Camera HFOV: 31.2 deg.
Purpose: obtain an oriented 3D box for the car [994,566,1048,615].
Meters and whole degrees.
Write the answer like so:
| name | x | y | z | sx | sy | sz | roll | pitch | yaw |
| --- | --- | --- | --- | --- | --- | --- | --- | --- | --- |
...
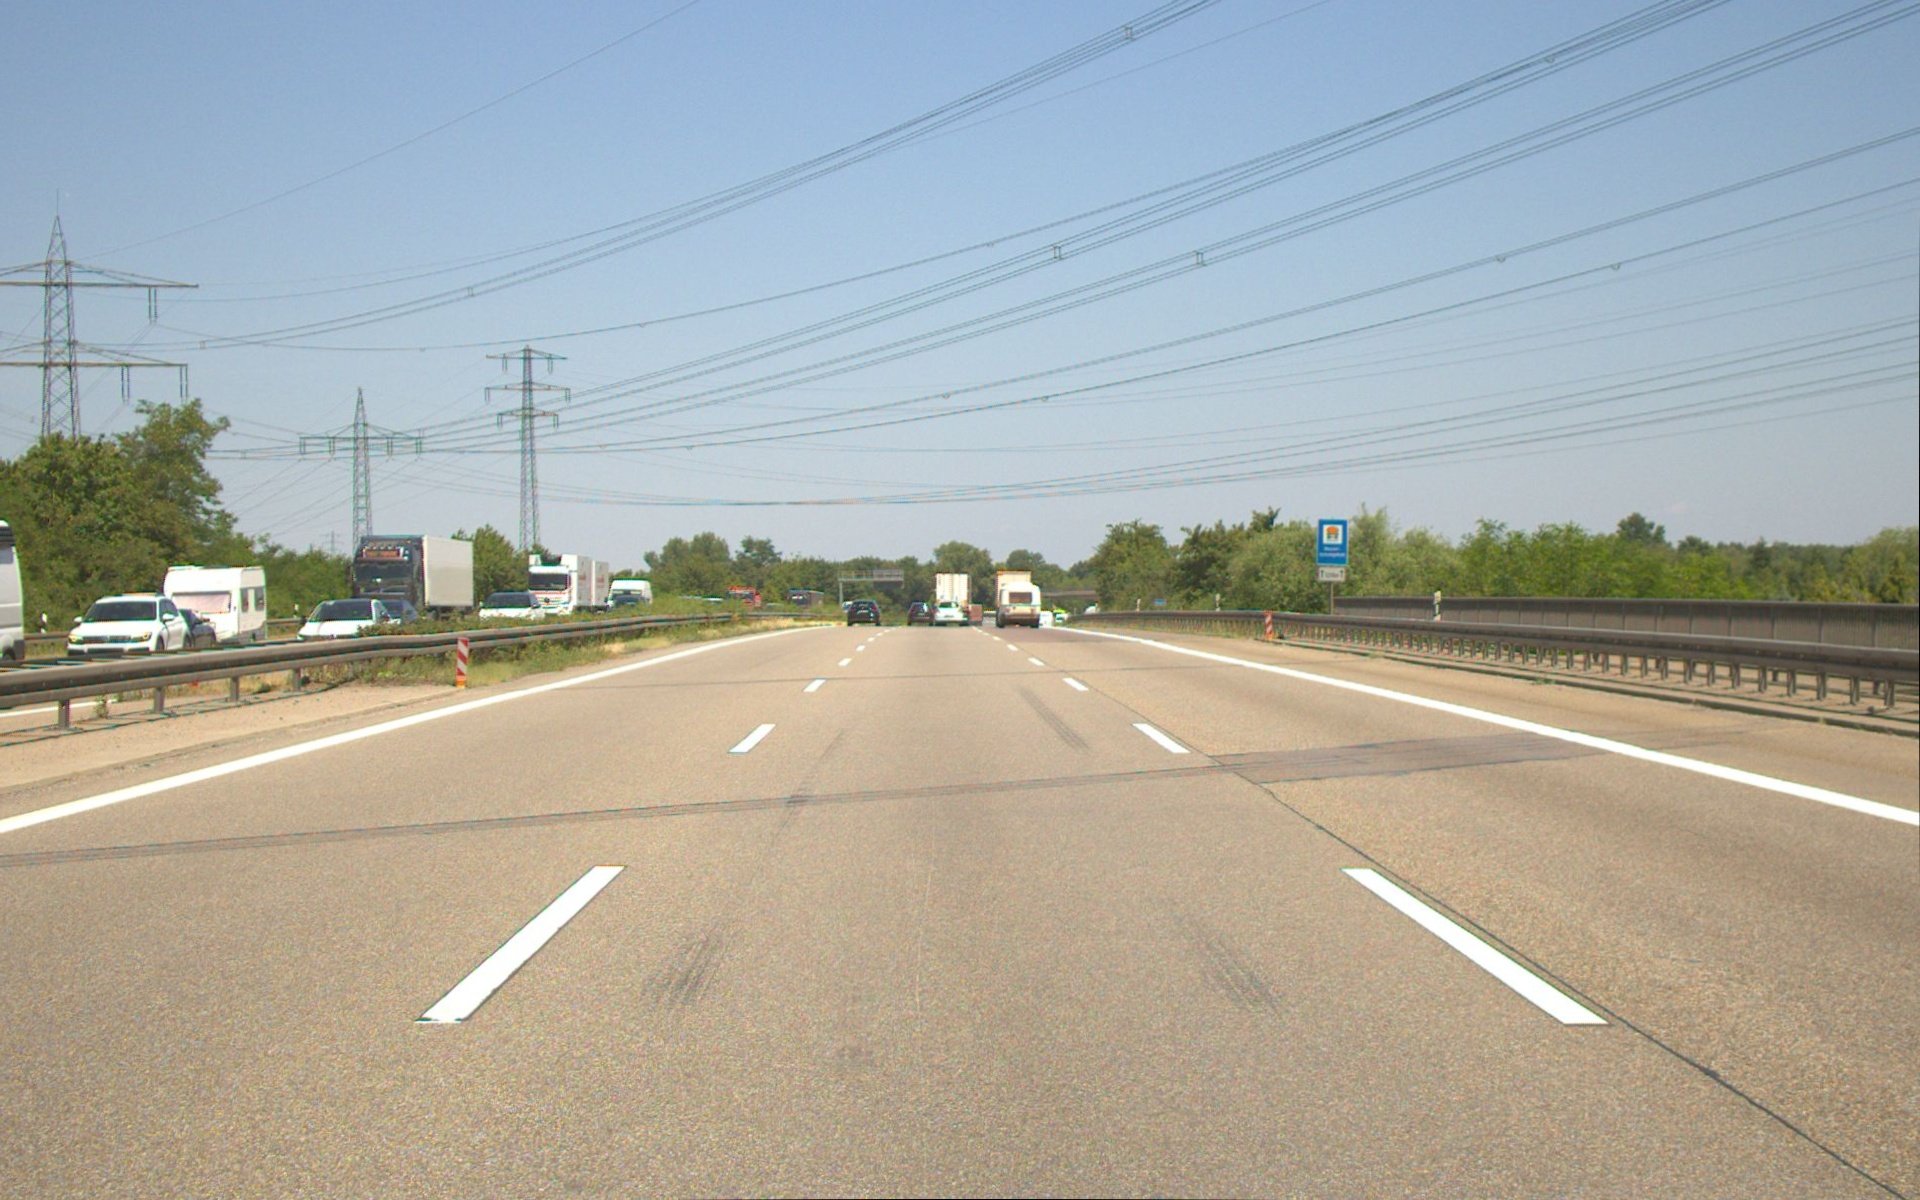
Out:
| name | x | y | z | sx | sy | sz | roll | pitch | yaw |
| --- | --- | --- | --- | --- | --- | --- | --- | --- | --- |
| car | 2.932 | -0.470 | 166.738 | 2.442 | 2.314 | 5.322 | -1 | 1 | 0 |

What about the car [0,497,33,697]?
| name | x | y | z | sx | sy | sz | roll | pitch | yaw |
| --- | --- | --- | --- | --- | --- | --- | --- | --- | --- |
| car | -13.470 | -0.011 | 42.947 | 2.169 | 2.575 | 6.039 | -1 | 1 | 0 |

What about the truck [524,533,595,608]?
| name | x | y | z | sx | sy | sz | roll | pitch | yaw |
| --- | --- | --- | --- | --- | --- | --- | --- | --- | --- |
| truck | -21.600 | -1.595 | 185.944 | 2.692 | 3.936 | 10.594 | 1 | 0 | -1 |

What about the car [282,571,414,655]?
| name | x | y | z | sx | sy | sz | roll | pitch | yaw |
| --- | --- | --- | --- | --- | --- | --- | --- | --- | --- |
| car | -13.828 | 0.263 | 77.983 | 2.074 | 1.785 | 5.108 | -2 | 0 | 0 |

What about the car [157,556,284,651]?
| name | x | y | z | sx | sy | sz | roll | pitch | yaw |
| --- | --- | --- | --- | --- | --- | --- | --- | --- | --- |
| car | -21.345 | 0.078 | 99.530 | 2.418 | 2.606 | 5.717 | -2 | 0 | 0 |

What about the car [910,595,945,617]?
| name | x | y | z | sx | sy | sz | roll | pitch | yaw |
| --- | --- | --- | --- | --- | --- | --- | --- | --- | --- |
| car | -2.356 | 0.436 | 252.558 | 1.828 | 1.542 | 4.317 | 1 | 0 | 10 |

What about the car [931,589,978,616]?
| name | x | y | z | sx | sy | sz | roll | pitch | yaw |
| --- | --- | --- | --- | --- | --- | --- | --- | --- | --- |
| car | -0.342 | 0.152 | 209.143 | 1.829 | 1.542 | 4.316 | 1 | 0 | 14 |

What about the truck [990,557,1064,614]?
| name | x | y | z | sx | sy | sz | roll | pitch | yaw |
| --- | --- | --- | --- | --- | --- | --- | --- | --- | --- |
| truck | 5.263 | -1.145 | 265.813 | 3.182 | 4.290 | 16.010 | 1 | 0 | 10 |

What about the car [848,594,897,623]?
| name | x | y | z | sx | sy | sz | roll | pitch | yaw |
| --- | --- | --- | --- | --- | --- | --- | --- | --- | --- |
| car | -4.782 | 0.463 | 188.439 | 1.828 | 1.542 | 4.317 | 1 | 0 | 10 |

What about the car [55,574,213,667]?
| name | x | y | z | sx | sy | sz | roll | pitch | yaw |
| --- | --- | --- | --- | --- | --- | --- | --- | --- | --- |
| car | -17.276 | 0.395 | 72.166 | 2.074 | 1.825 | 5.108 | -2 | 0 | 0 |

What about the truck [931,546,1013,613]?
| name | x | y | z | sx | sy | sz | roll | pitch | yaw |
| --- | --- | --- | --- | --- | --- | --- | --- | --- | --- |
| truck | 1.010 | -1.571 | 267.317 | 3.668 | 5.001 | 16.010 | 1 | 0 | 10 |
